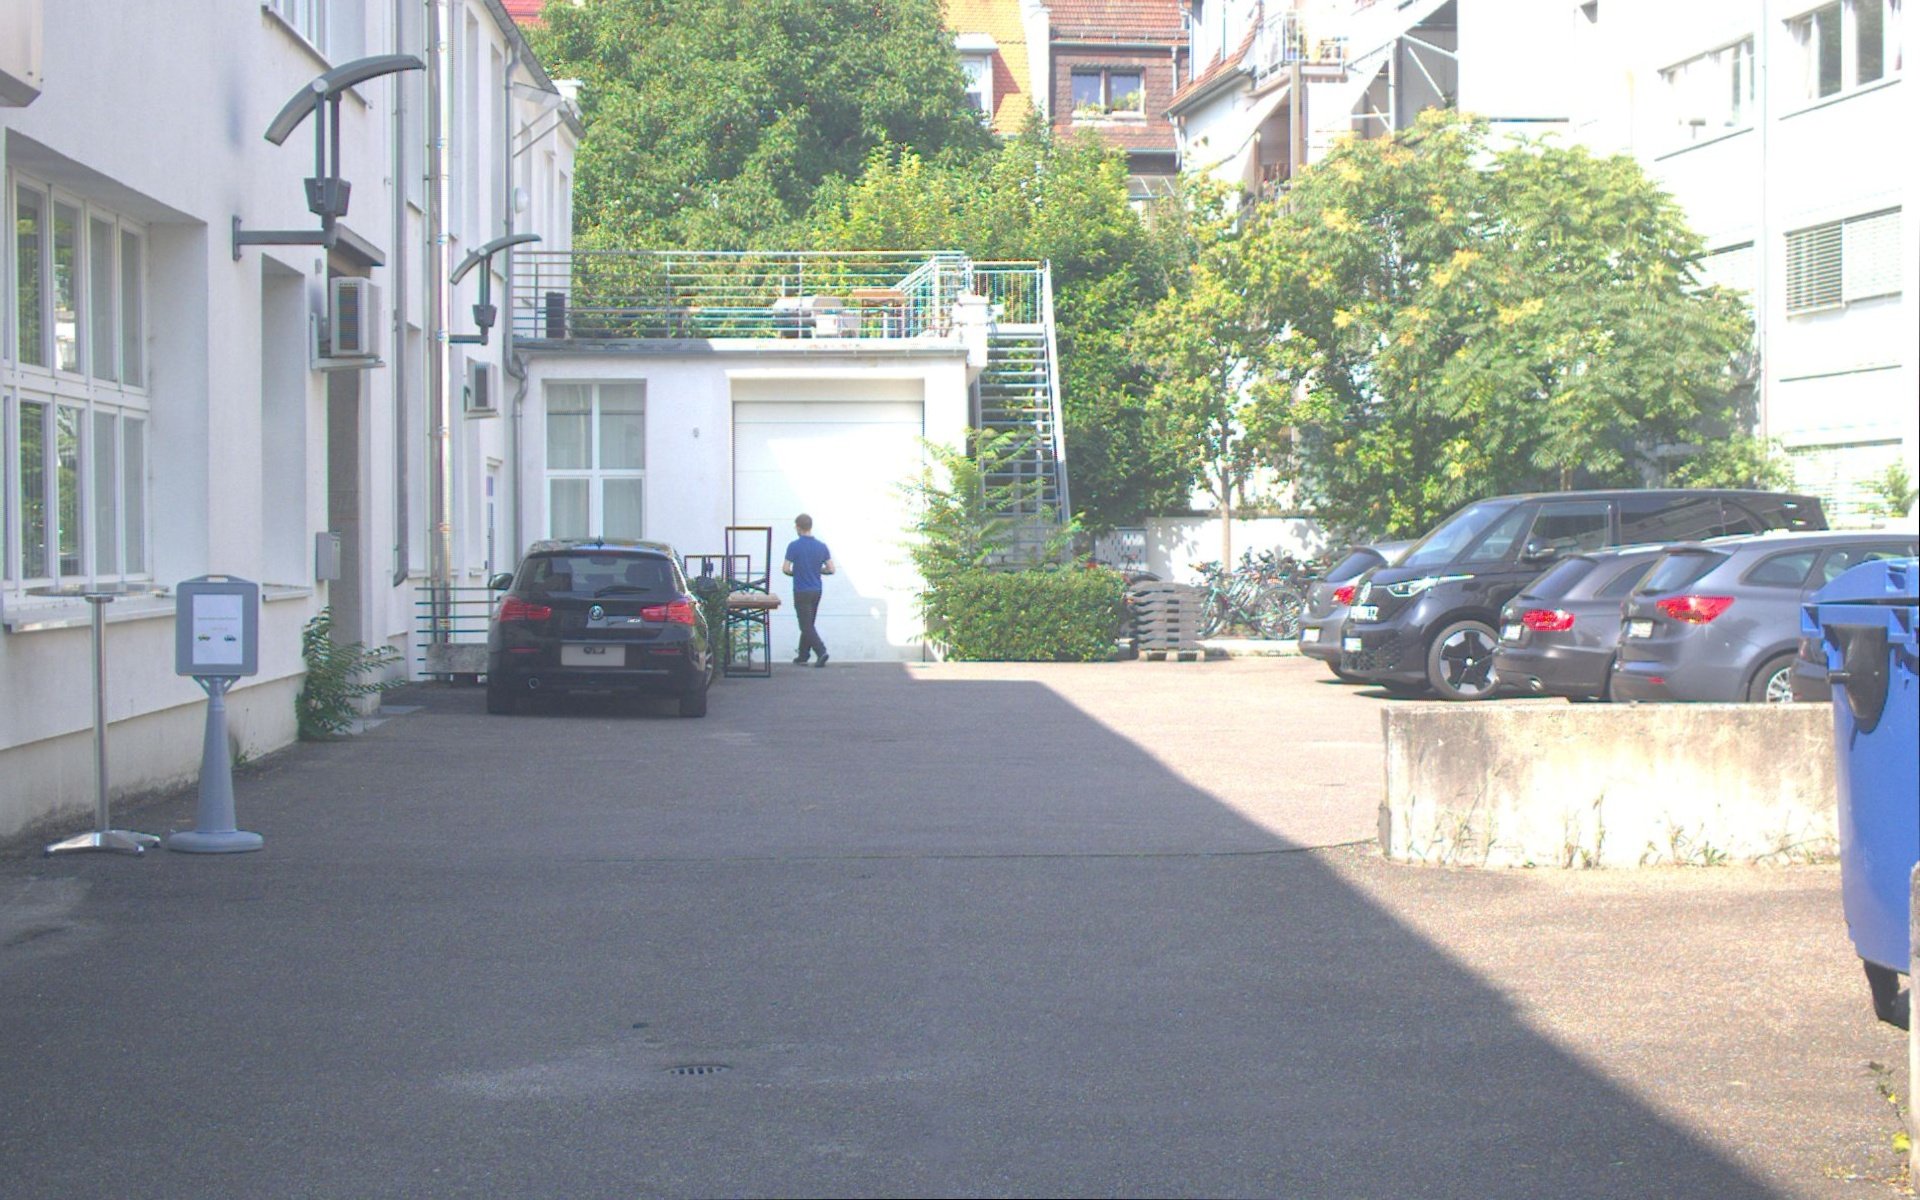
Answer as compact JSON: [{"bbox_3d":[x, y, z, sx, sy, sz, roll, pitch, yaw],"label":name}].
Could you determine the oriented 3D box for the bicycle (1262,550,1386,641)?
[{"bbox_3d":[4.939,-0.064,46.695,1.624,1.210,0.327,-1,1,13],"label":"bicycle"}]

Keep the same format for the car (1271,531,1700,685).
[{"bbox_3d":[5.325,0.074,35.043,3.931,1.477,1.775,-1,0,-11],"label":"car"}]

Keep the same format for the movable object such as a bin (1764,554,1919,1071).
[{"bbox_3d":[3.034,0.545,9.505,1.300,1.336,1.195,0,0,-2],"label":"movable object such as a bin"}]

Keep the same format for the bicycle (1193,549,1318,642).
[{"bbox_3d":[3.950,-0.061,46.025,1.623,1.210,0.327,-1,1,0],"label":"bicycle"}]

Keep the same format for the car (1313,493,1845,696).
[{"bbox_3d":[5.755,-0.063,32.167,4.499,1.788,1.883,-1,0,-11],"label":"car"}]

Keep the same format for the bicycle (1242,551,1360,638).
[{"bbox_3d":[4.878,-0.082,49.157,1.624,1.210,0.424,-1,1,11],"label":"bicycle"}]

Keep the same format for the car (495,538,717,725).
[{"bbox_3d":[-2.904,0.232,28.799,1.688,1.454,3.923,0,0,-4],"label":"car"}]

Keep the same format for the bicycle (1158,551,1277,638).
[{"bbox_3d":[3.668,-0.084,49.041,1.623,1.210,0.424,-1,1,-6],"label":"bicycle"}]

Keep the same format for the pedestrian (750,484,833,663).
[{"bbox_3d":[-1.906,-0.296,38.998,0.913,2.007,0.935,0,0,-1],"label":"pedestrian"}]

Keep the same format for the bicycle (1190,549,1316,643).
[{"bbox_3d":[3.895,-0.059,45.702,1.623,1.210,0.327,-1,1,0],"label":"bicycle"}]

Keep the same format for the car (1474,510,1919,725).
[{"bbox_3d":[6.417,0.136,27.981,4.116,1.686,1.771,0,0,-4],"label":"car"}]

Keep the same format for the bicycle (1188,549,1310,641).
[{"bbox_3d":[3.932,-0.067,46.769,1.623,1.210,0.327,-1,1,8],"label":"bicycle"}]

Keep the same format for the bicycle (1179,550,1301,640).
[{"bbox_3d":[3.841,-0.069,47.131,1.624,1.210,0.327,-1,1,11],"label":"bicycle"}]

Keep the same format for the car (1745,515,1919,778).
[{"bbox_3d":[7.196,0.272,21.975,3.798,1.583,1.898,0,0,-11],"label":"car"}]

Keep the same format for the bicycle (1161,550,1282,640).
[{"bbox_3d":[3.630,-0.074,47.803,1.623,1.210,0.424,-1,1,-2],"label":"bicycle"}]

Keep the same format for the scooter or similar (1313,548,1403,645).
[{"bbox_3d":[5.260,-0.049,45.508,0.378,1.256,1.349,-2,1,-34],"label":"scooter or similar"}]

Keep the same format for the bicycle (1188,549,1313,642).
[{"bbox_3d":[3.911,-0.063,46.318,1.623,1.210,0.327,-1,1,0],"label":"bicycle"}]

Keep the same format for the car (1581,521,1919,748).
[{"bbox_3d":[6.706,0.237,25.168,3.861,1.583,1.880,0,0,-7],"label":"car"}]
